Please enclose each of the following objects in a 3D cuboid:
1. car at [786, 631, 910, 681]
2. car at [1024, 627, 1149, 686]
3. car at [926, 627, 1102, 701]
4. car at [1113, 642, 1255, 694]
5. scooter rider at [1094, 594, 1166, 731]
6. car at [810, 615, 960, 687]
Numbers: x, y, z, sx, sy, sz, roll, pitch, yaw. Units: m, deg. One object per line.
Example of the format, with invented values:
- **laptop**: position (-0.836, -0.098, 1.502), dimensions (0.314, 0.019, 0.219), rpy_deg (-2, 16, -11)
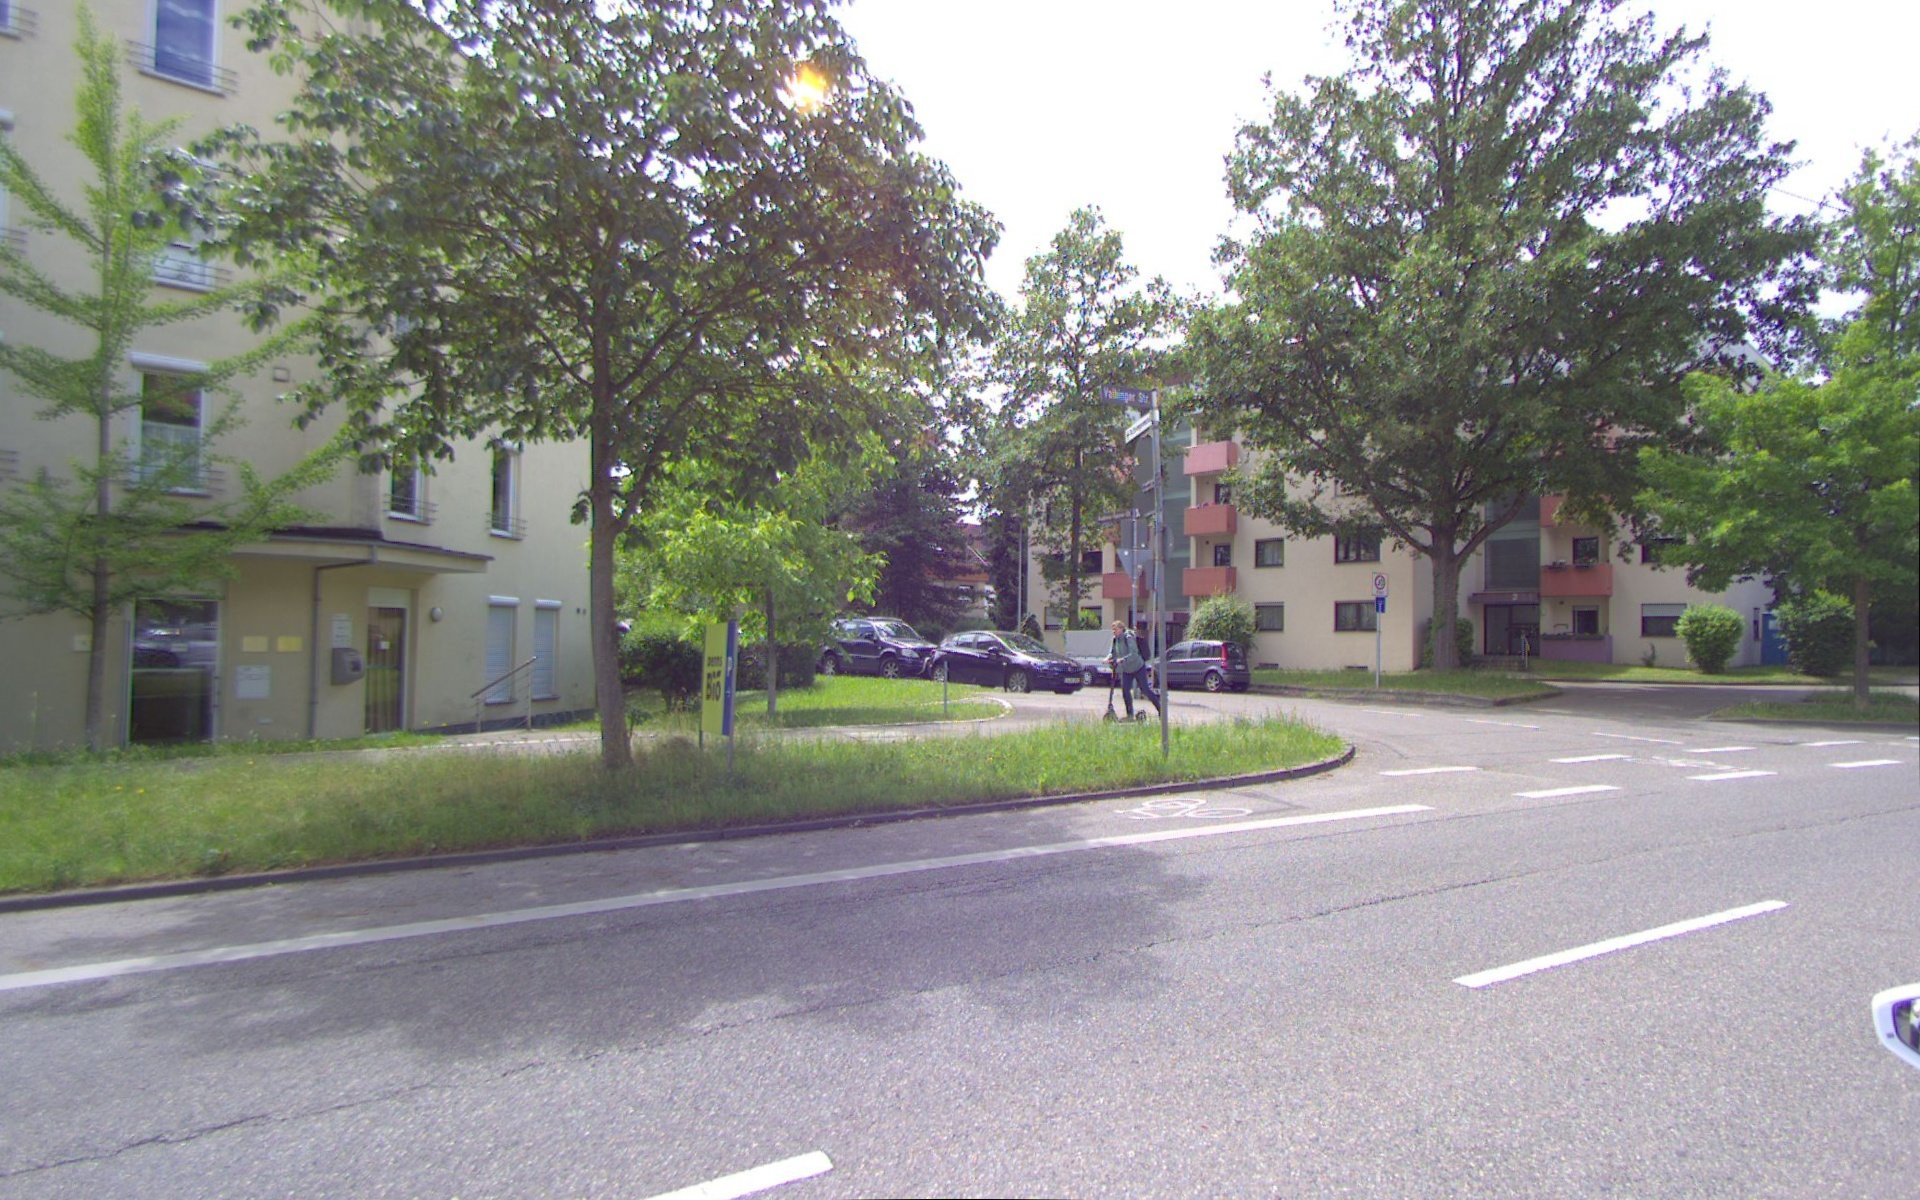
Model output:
- **car**: position (-4.364, 2.130, 39.067), dimensions (4.337, 1.817, 2.124), rpy_deg (-1, -2, 28)
- **car**: position (4.249, 1.945, 34.083), dimensions (1.832, 1.868, 3.952), rpy_deg (2, -5, -42)
- **car**: position (1.183, 1.433, 23.661), dimensions (1.725, 1.417, 4.100), rpy_deg (2, 0, -42)
- **car**: position (6.765, 2.020, 30.572), dimensions (3.945, 1.471, 1.687), rpy_deg (-2, -3, 43)
- **scooter rider**: position (2.620, 0.943, 15.515), dimensions (0.785, 2.040, 0.673), rpy_deg (2, 0, -30)
- **car**: position (-2.145, 1.350, 27.728), dimensions (1.857, 1.675, 4.379), rpy_deg (2, 0, -41)
